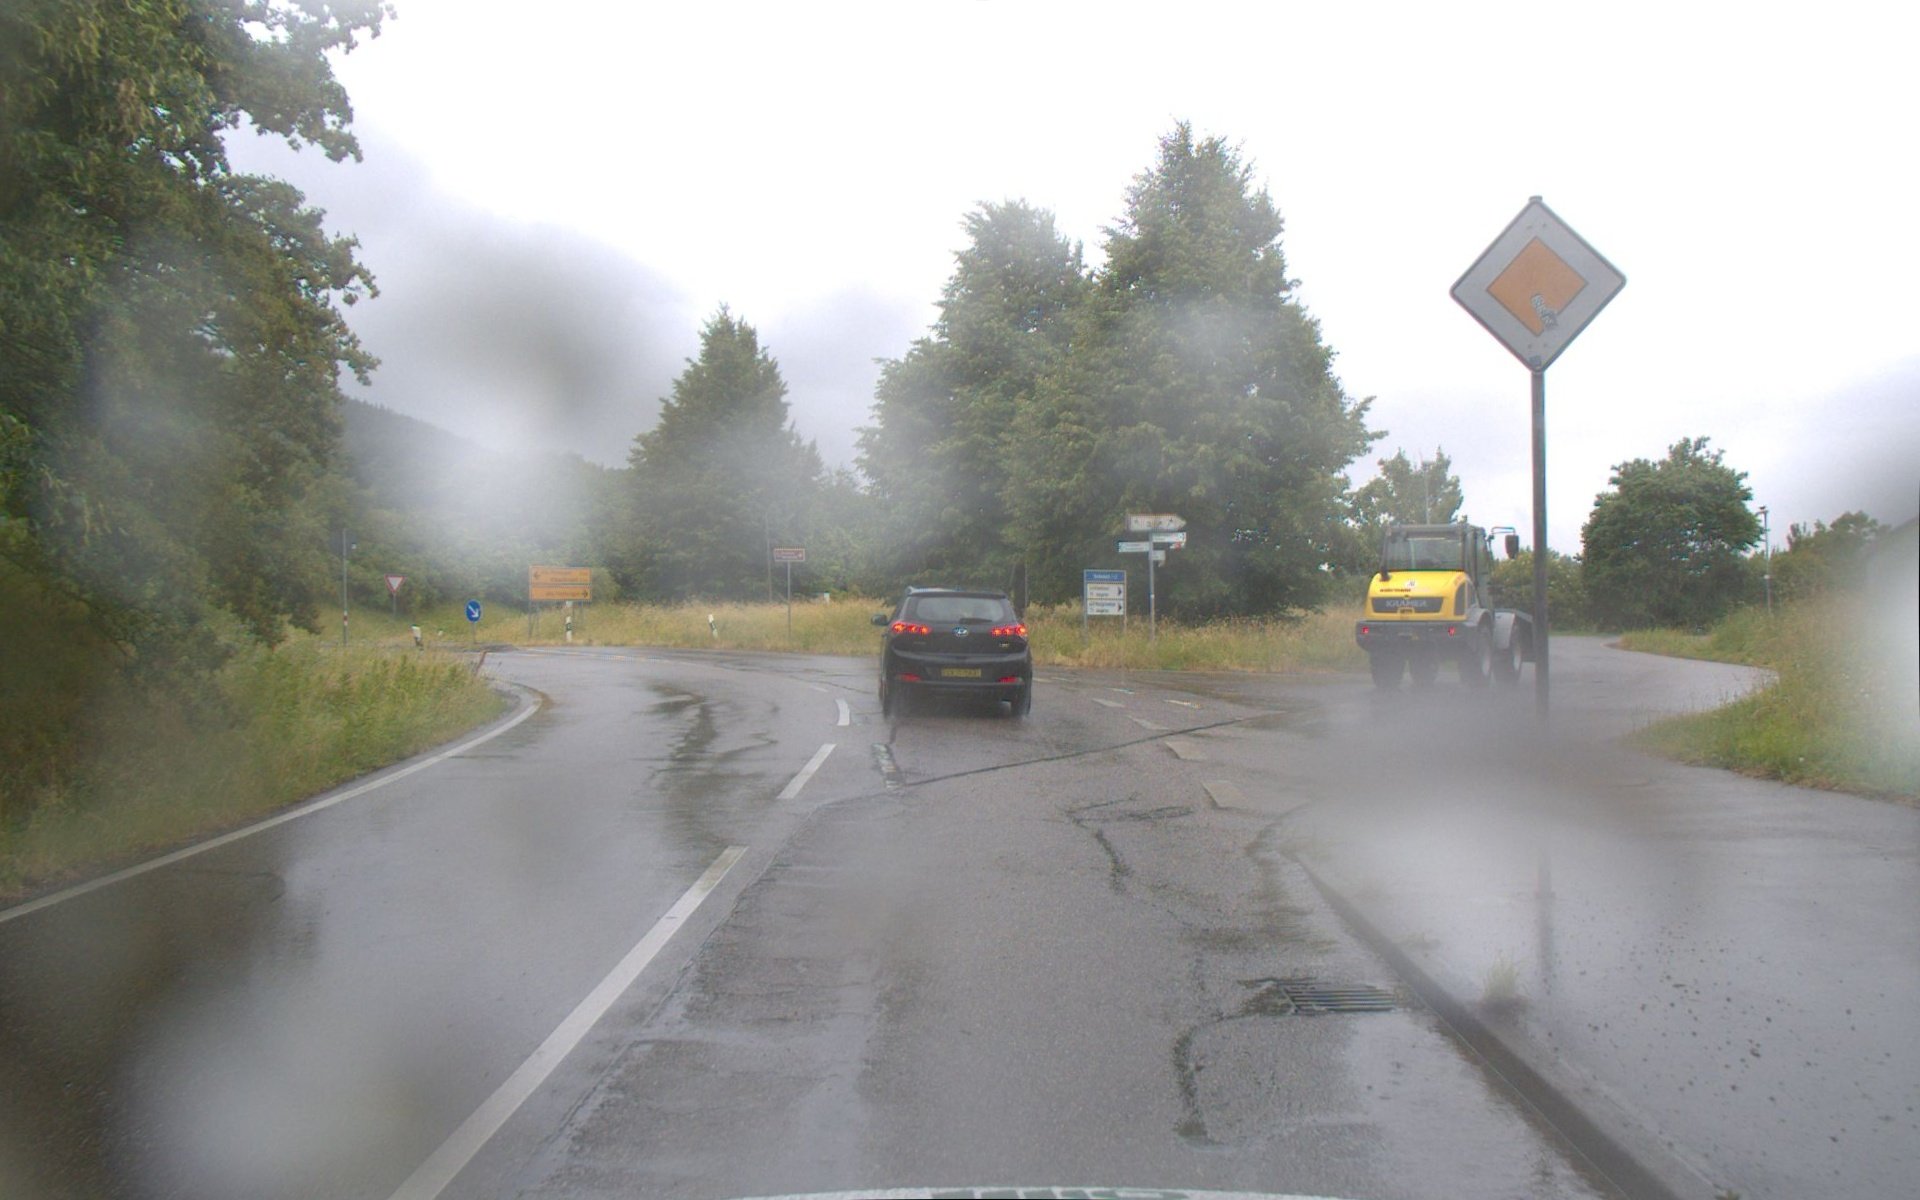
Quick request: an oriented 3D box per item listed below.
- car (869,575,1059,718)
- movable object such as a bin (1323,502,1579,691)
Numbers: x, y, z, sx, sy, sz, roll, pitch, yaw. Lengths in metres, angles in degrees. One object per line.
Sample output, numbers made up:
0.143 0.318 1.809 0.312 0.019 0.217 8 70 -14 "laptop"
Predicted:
-0.058 0.514 20.008 1.954 1.513 3.996 1 0 -5 "car"
8.221 -0.012 27.120 2.206 2.716 6.607 1 0 33 "movable object such as a bin"
